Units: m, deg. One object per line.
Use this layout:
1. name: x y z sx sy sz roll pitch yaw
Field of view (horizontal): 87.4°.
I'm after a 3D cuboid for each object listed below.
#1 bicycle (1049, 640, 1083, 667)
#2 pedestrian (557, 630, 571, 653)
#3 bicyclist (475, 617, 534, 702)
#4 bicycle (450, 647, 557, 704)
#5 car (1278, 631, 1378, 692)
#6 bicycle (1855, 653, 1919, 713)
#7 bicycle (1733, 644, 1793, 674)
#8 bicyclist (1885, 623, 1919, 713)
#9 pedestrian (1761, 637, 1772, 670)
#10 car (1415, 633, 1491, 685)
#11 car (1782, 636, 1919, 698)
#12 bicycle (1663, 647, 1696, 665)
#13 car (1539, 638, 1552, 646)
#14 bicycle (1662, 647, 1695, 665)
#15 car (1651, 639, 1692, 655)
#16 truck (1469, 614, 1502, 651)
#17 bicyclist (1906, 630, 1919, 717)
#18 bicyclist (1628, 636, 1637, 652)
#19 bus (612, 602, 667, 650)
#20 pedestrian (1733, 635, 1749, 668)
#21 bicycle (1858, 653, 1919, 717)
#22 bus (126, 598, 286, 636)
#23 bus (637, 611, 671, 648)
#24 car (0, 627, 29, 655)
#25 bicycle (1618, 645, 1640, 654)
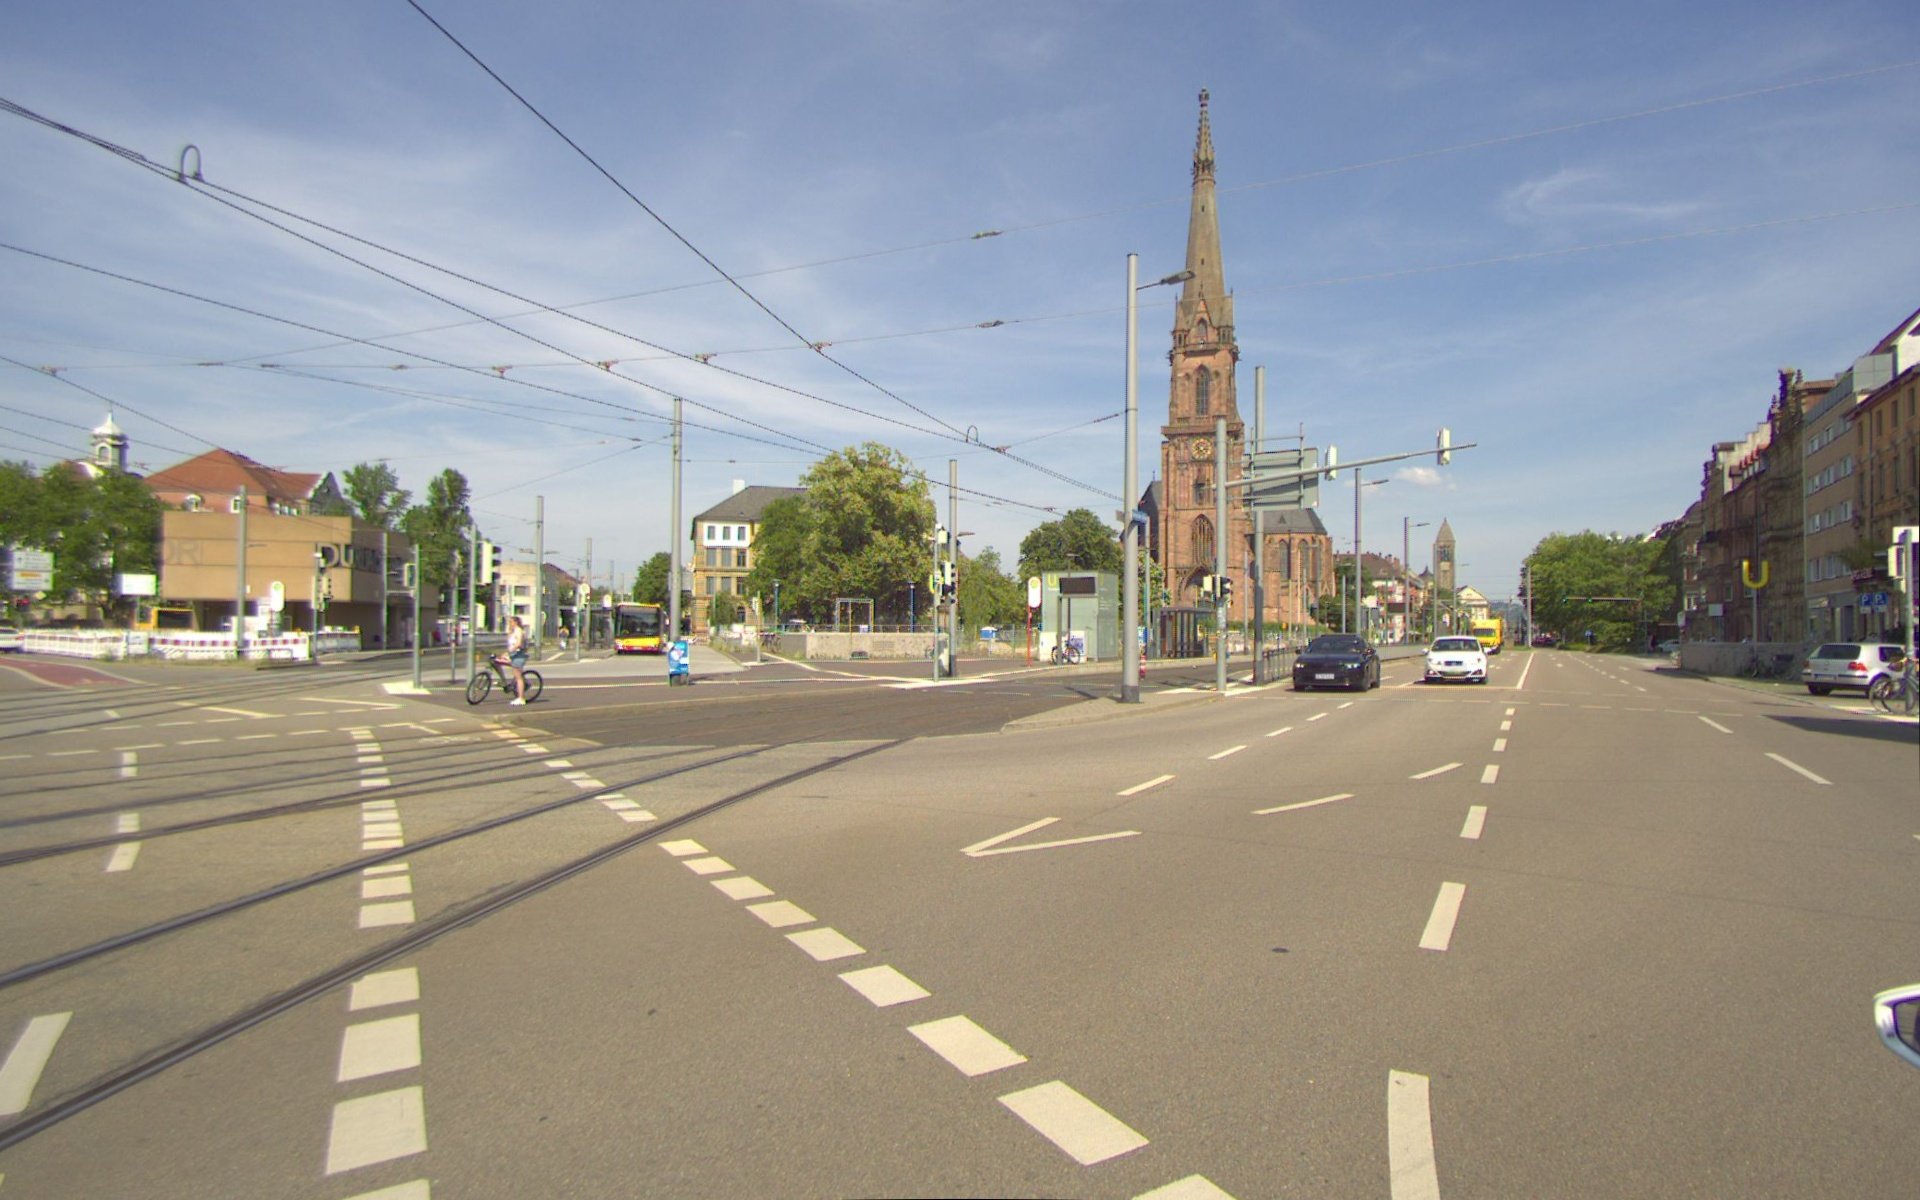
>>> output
1. bicycle: 4.543 2.288 42.994 1.651 1.085 0.409 -1 -1 -42
2. pedestrian: -25.361 2.658 64.268 0.535 1.385 0.900 -1 0 -43
3. bicyclist: -9.348 1.218 20.612 0.739 1.706 0.774 -1 -3 37
4. bicycle: -9.335 1.533 20.609 0.739 1.098 1.843 -1 -4 36
5. car: 9.892 1.581 26.816 1.729 1.475 4.414 -2 -2 30
6. bicycle: 19.116 1.659 20.061 1.763 1.145 0.584 0 -2 24
7. bicycle: 30.952 2.268 38.723 1.717 1.109 0.596 -1 -1 31
8. bicyclist: 18.955 1.348 20.007 0.606 1.758 0.584 0 -2 24
9. pedestrian: 41.355 2.731 51.506 0.366 1.687 0.524 -1 -2 30
10. car: 15.052 1.759 30.561 1.729 1.416 4.117 -5 -4 30
11. car: 24.358 1.781 26.633 3.927 1.459 1.811 3 -1 -9
12. bicycle: 40.132 3.116 56.058 1.439 0.989 0.415 -1 0 31
13. car: 109.235 7.776 187.330 1.870 1.394 3.811 -1 -2 27
14. bicycle: 40.358 3.143 56.441 1.439 0.959 0.415 -1 -3 31
15. car: 85.990 5.642 121.422 3.931 1.773 1.995 -1 0 32
16. truck: 51.009 3.232 97.380 2.506 3.341 9.014 -3 -4 29
17. bicyclist: 18.118 1.375 18.752 0.728 1.593 0.605 3 -2 -42
18. bicyclist: 67.514 4.404 100.827 0.628 1.613 0.483 0 1 15
19. bus: -20.033 1.508 63.315 2.712 2.718 11.752 -1 0 -15
20. pedestrian: 40.567 2.674 52.168 0.545 1.687 0.524 -1 -2 30
21. bicycle: 18.077 1.601 18.844 0.749 1.145 1.775 3 -2 -42
22. bus: -65.226 1.603 87.464 2.740 3.078 12.157 0 -2 14
23. bus: -29.779 2.888 98.072 2.712 3.366 11.755 1 -2 -15
24. car: -52.892 2.237 55.215 3.935 1.439 1.797 -1 0 36
25. bicycle: 67.185 4.992 100.932 1.788 0.875 0.483 0 1 15
